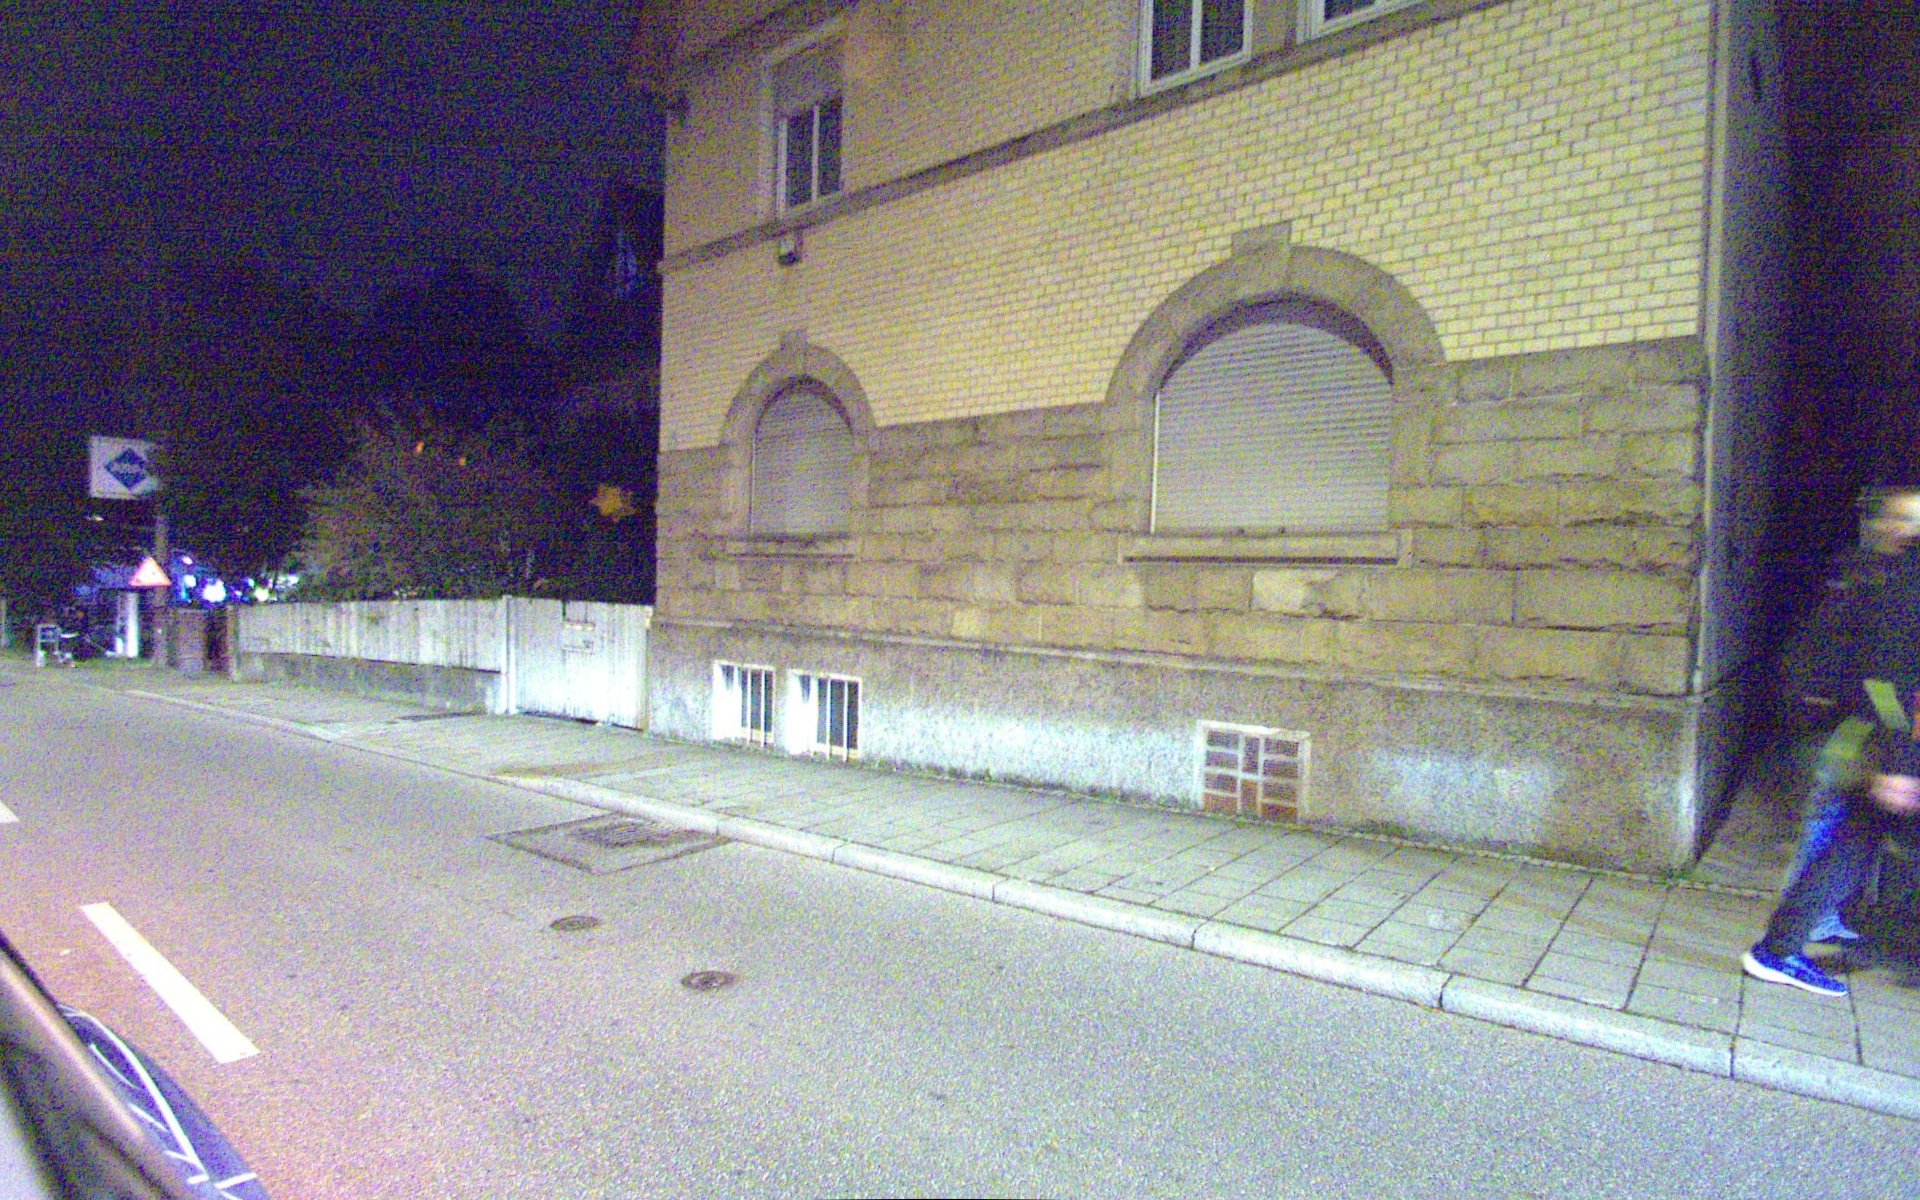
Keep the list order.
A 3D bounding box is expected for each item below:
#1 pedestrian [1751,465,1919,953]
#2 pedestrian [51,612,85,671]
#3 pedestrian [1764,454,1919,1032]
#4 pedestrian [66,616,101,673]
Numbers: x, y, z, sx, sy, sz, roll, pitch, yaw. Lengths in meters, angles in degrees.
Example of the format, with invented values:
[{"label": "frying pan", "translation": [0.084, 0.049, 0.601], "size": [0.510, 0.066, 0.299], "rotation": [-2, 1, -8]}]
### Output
[{"label": "pedestrian", "translation": [3.752, 0.392, 3.877], "size": [1.102, 1.758, 0.734], "rotation": [-1, 0, 40]}, {"label": "pedestrian", "translation": [-26.215, 1.201, 29.744], "size": [0.733, 1.684, 1.104], "rotation": [0, 0, -43]}, {"label": "pedestrian", "translation": [3.243, 0.432, 3.235], "size": [1.028, 1.758, 0.668], "rotation": [-1, 0, 40]}, {"label": "pedestrian", "translation": [-27.329, 1.383, 31.554], "size": [0.865, 1.739, 0.662], "rotation": [-1, -1, 38]}]
